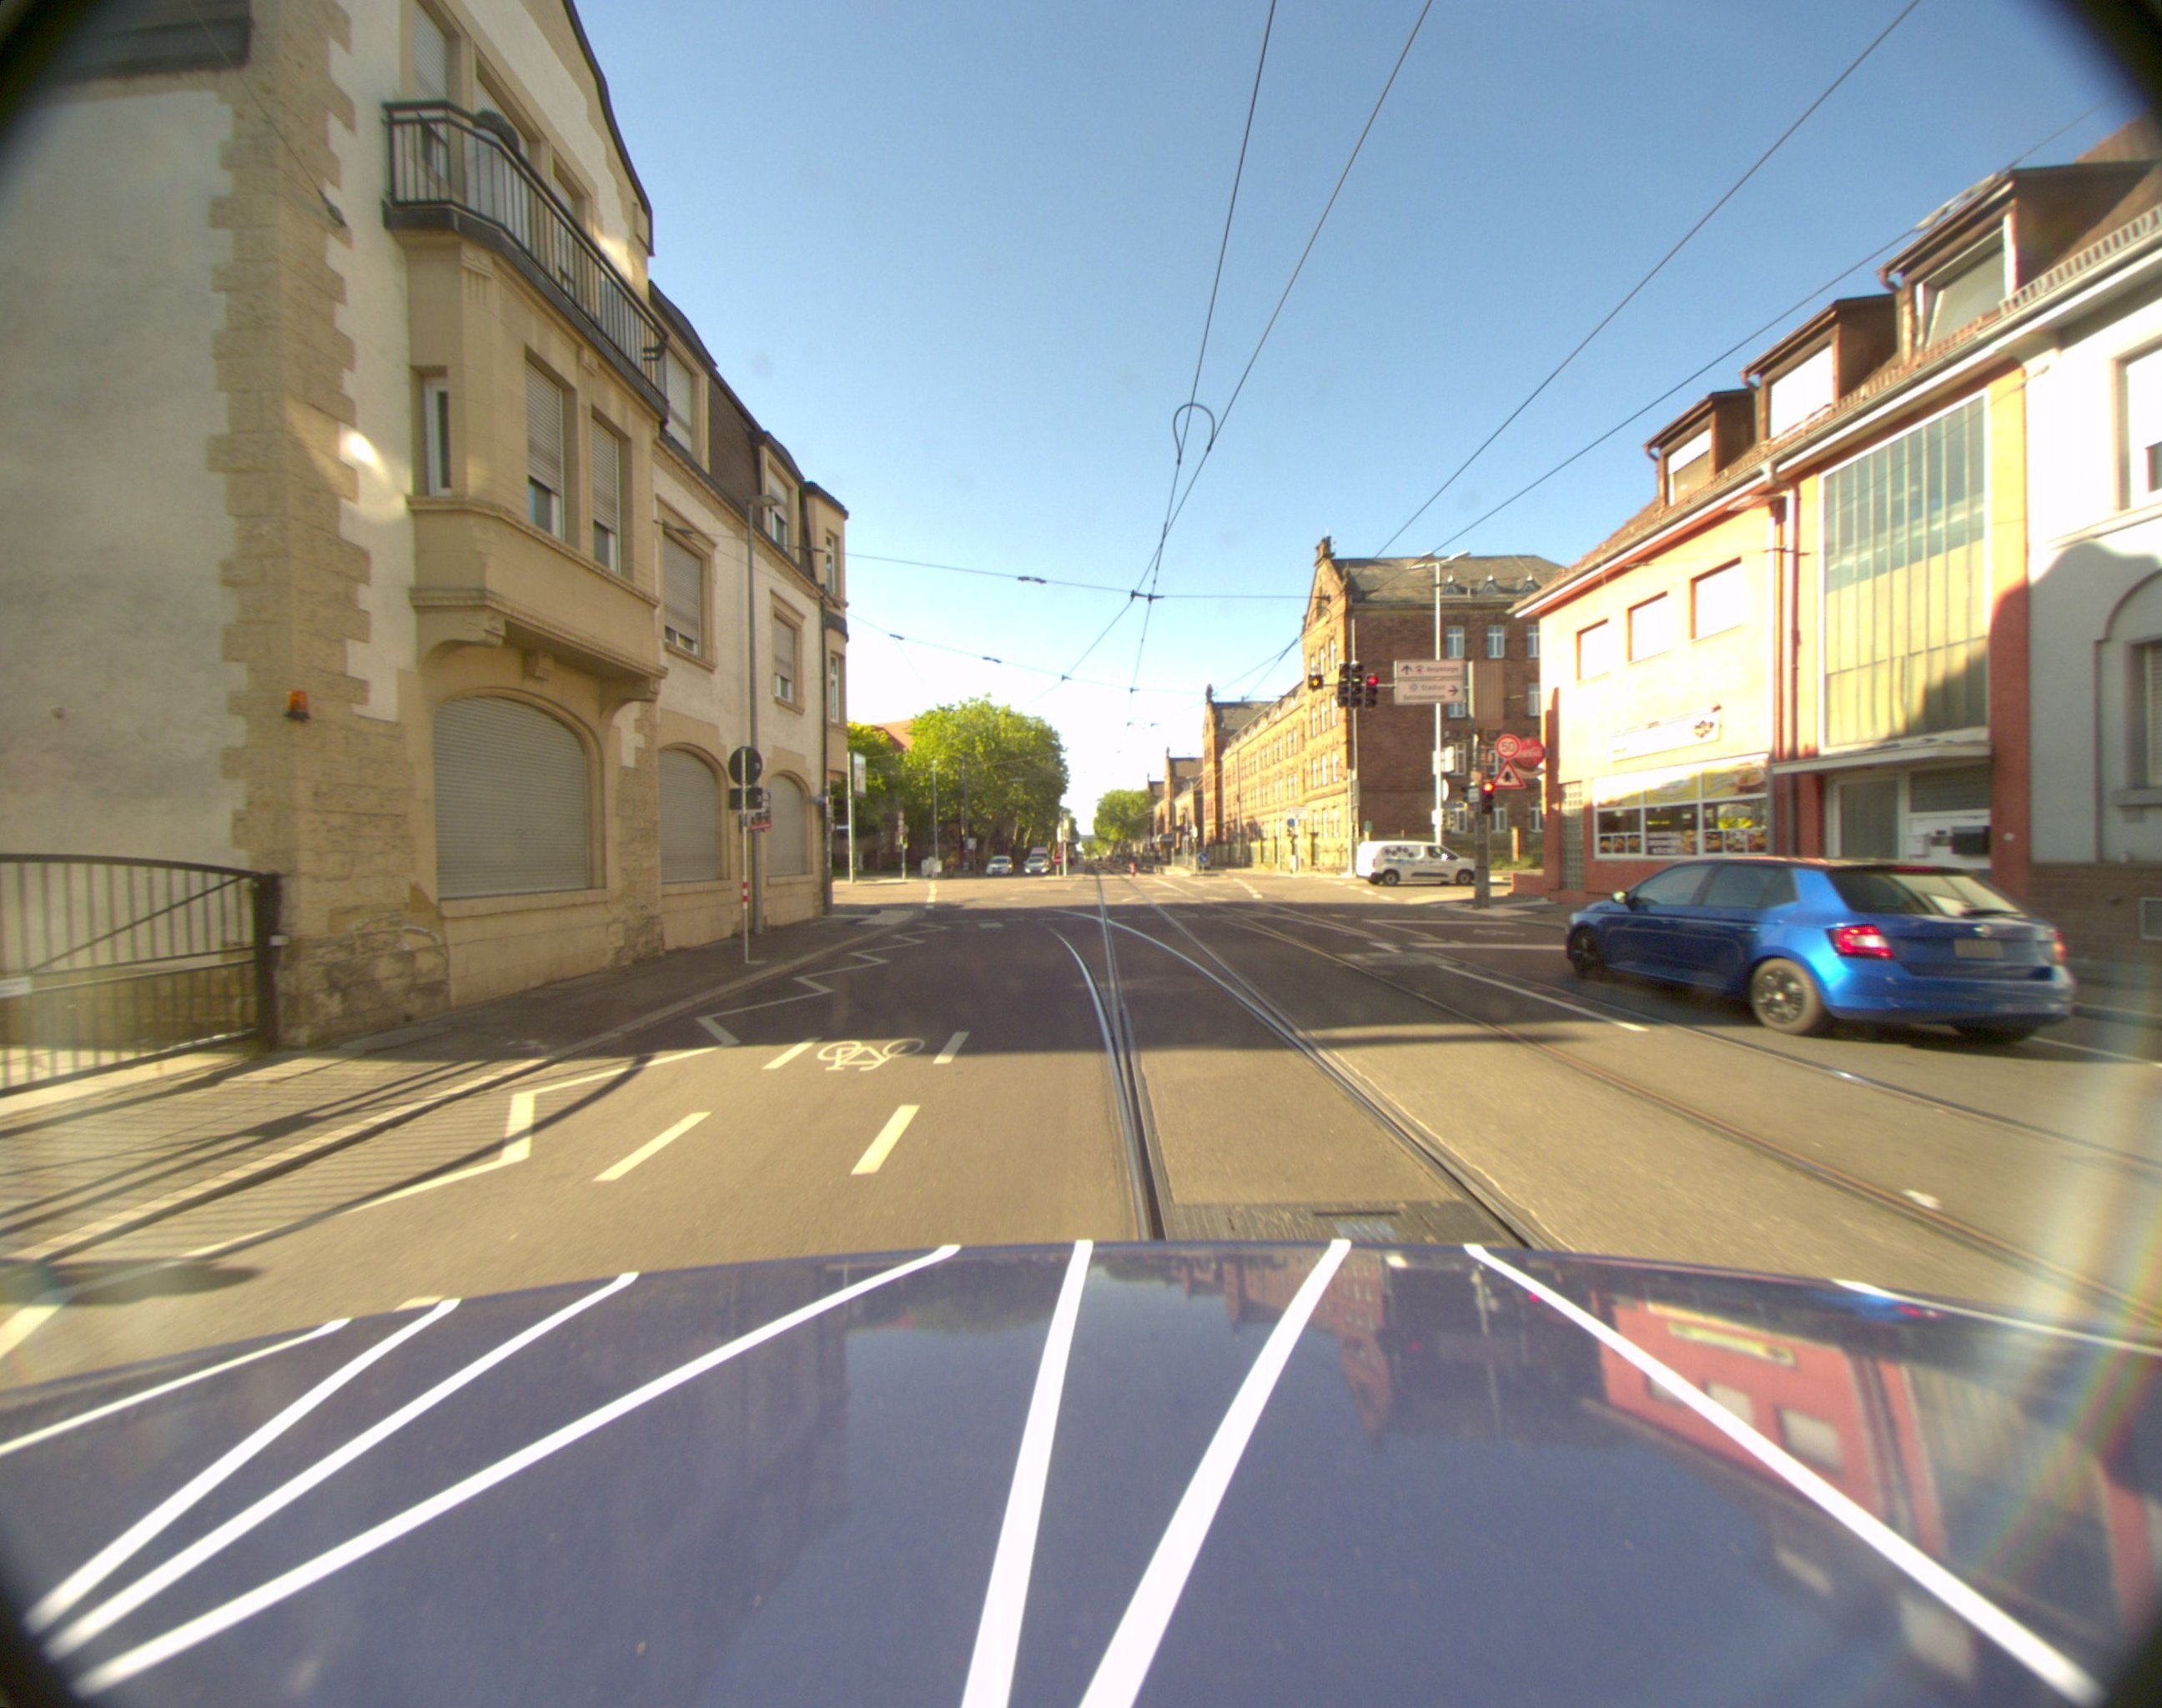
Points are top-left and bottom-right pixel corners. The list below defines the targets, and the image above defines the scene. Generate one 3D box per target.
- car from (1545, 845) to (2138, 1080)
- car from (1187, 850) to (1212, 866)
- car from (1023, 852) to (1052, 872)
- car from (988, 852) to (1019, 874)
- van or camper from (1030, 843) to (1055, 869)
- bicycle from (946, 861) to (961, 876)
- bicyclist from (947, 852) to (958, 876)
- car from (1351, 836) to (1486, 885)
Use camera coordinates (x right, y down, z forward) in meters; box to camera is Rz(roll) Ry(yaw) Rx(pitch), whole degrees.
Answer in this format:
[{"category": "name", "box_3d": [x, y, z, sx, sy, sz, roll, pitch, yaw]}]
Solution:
[{"category": "car", "box_3d": [6.299, 0.708, 7.079, 1.687, 1.558, 3.929, 1, 1, 3]}, {"category": "car", "box_3d": [11.029, 0.386, 70.878, 1.740, 1.434, 4.115, -2, 0, 2]}, {"category": "car", "box_3d": [-3.548, 0.685, 62.773, 1.984, 1.539, 4.035, -2, 0, 2]}, {"category": "car", "box_3d": [-6.202, 0.711, 61.337, 1.911, 1.609, 4.572, -2, 0, 1]}, {"category": "van or camper", "box_3d": [-3.593, 0.214, 71.704, 1.998, 2.346, 5.600, -2, -1, 1]}, {"category": "bicycle", "box_3d": [-9.382, 1.061, 55.840, 0.690, 1.027, 2.100, -1, -2, 1]}, {"category": "bicyclist", "box_3d": [-9.395, 0.737, 55.701, 0.670, 1.718, 0.623, -1, -2, 0]}, {"category": "car", "box_3d": [13.635, 0.230, 30.884, 4.694, 1.789, 1.857, -1, 3, 0]}]
